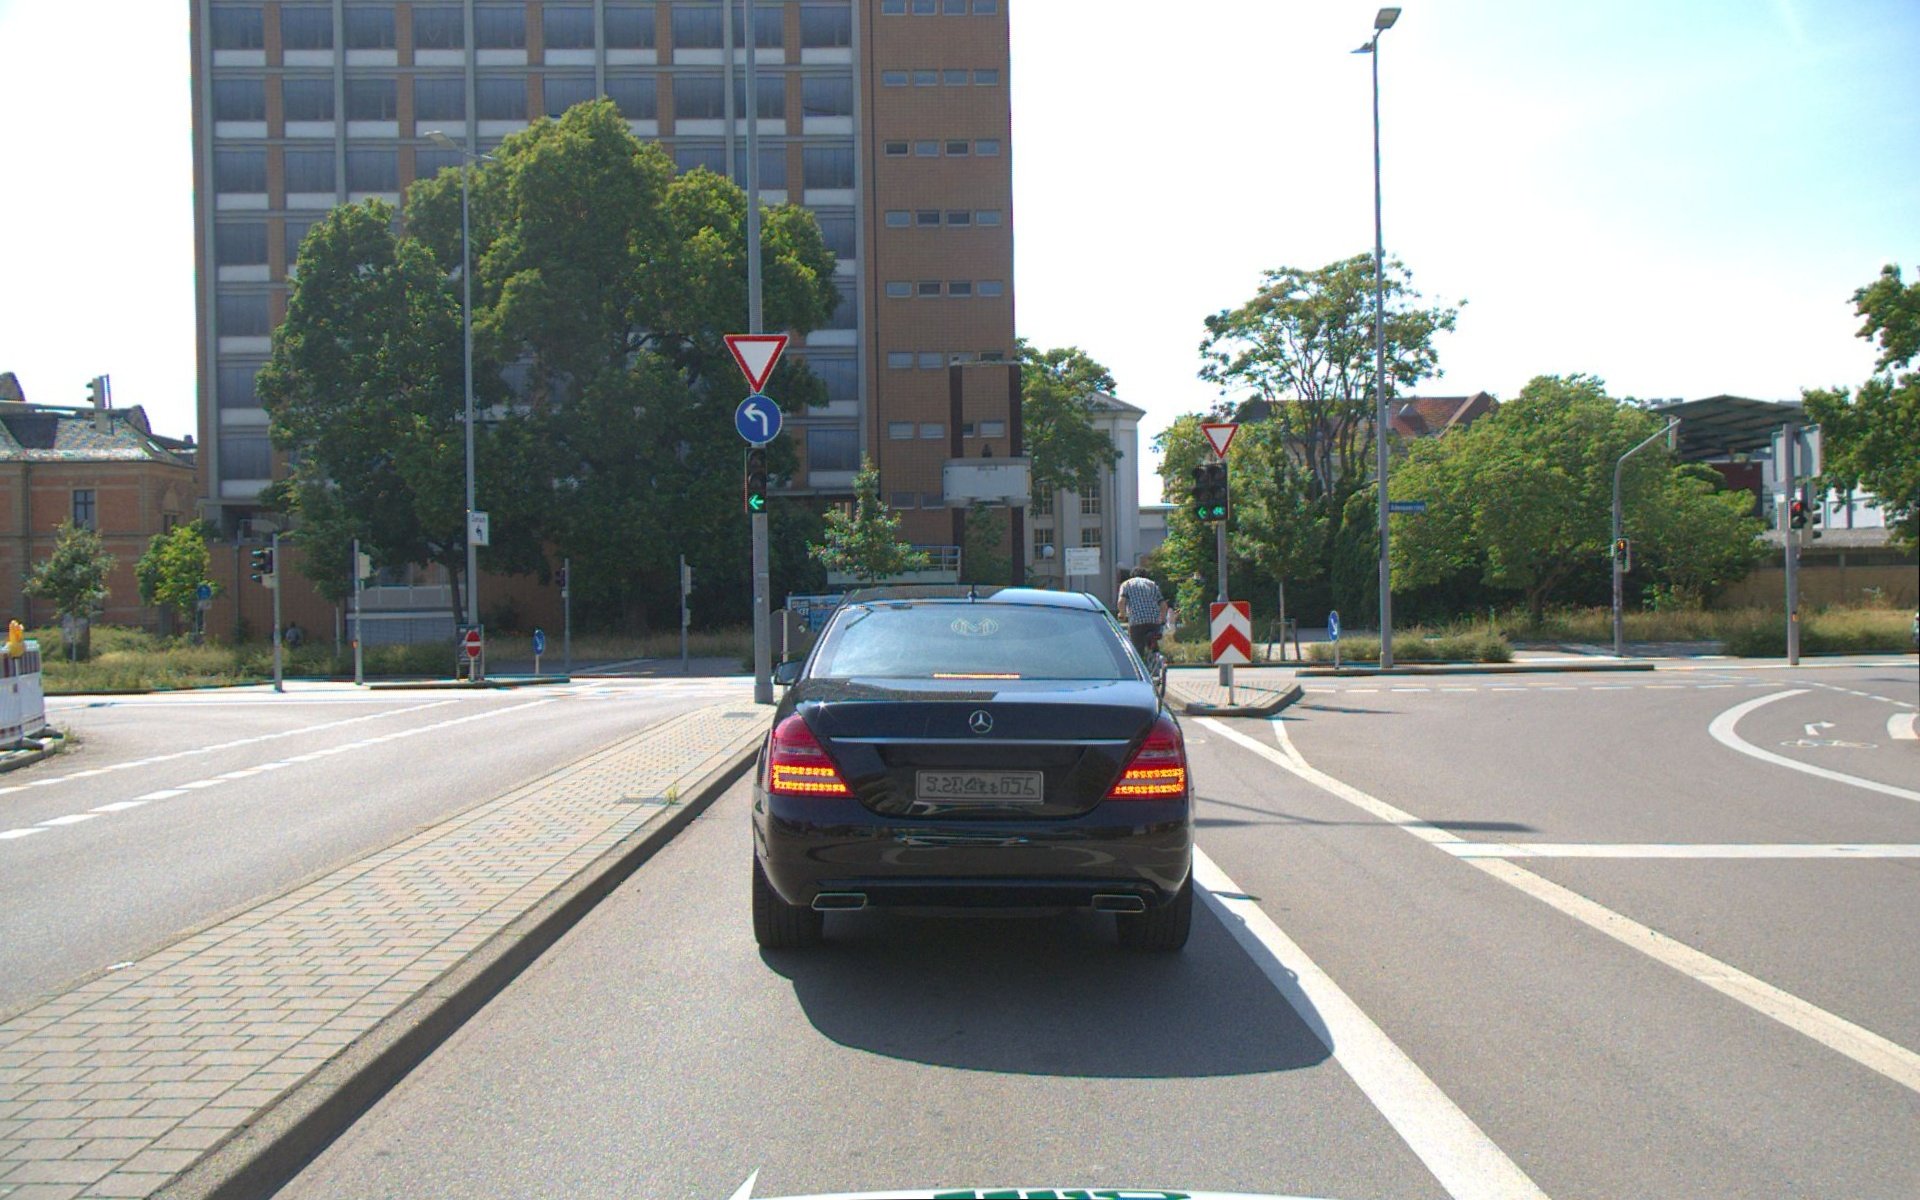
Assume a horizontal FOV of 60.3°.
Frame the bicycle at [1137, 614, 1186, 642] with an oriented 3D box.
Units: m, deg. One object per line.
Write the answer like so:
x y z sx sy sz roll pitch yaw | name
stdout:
12.033 1.670 98.603 2.766 1.564 0.841 -2 0 -2 | bicycle

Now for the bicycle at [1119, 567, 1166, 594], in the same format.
11.324 -1.225 102.769 2.766 1.586 0.841 -2 0 -2 | bicycle

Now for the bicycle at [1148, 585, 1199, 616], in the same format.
12.296 0.013 95.334 2.766 1.678 0.841 -2 0 -2 | bicycle

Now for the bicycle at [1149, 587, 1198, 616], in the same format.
12.607 0.071 97.631 2.766 1.615 0.841 -2 0 -2 | bicycle

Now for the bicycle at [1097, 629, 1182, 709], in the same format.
2.315 0.876 21.543 0.679 0.963 1.955 1 0 -7 | bicycle

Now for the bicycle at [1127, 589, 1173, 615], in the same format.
12.014 0.126 104.715 2.766 1.526 0.841 -2 0 -2 | bicycle

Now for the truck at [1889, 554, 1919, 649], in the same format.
27.705 -0.074 41.955 6.881 2.397 2.413 -2 -2 0 | truck

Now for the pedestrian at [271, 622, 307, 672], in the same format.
-23.911 1.682 58.974 0.781 1.756 0.873 -2 -1 22 | pedestrian

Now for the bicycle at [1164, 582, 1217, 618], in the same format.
12.758 -0.002 91.705 2.766 1.868 0.841 -2 0 -2 | bicycle

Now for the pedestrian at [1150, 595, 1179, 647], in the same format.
6.487 0.657 52.427 0.794 1.607 0.692 -1 -1 1 | pedestrian

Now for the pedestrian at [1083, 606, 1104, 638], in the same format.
5.141 0.846 63.694 0.776 1.235 0.758 1 0 6 | pedestrian

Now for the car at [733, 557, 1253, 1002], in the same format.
0.094 0.645 8.196 1.821 1.557 4.713 1 0 -1 | car

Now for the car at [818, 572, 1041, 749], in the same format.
-0.299 0.548 16.642 1.953 1.534 3.999 1 0 -1 | car

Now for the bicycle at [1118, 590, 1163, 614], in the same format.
11.602 0.123 106.533 2.765 1.506 0.841 -2 0 0 | bicycle

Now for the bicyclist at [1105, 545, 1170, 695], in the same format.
2.305 0.254 21.534 0.673 1.911 0.858 0 0 -7 | bicyclist
